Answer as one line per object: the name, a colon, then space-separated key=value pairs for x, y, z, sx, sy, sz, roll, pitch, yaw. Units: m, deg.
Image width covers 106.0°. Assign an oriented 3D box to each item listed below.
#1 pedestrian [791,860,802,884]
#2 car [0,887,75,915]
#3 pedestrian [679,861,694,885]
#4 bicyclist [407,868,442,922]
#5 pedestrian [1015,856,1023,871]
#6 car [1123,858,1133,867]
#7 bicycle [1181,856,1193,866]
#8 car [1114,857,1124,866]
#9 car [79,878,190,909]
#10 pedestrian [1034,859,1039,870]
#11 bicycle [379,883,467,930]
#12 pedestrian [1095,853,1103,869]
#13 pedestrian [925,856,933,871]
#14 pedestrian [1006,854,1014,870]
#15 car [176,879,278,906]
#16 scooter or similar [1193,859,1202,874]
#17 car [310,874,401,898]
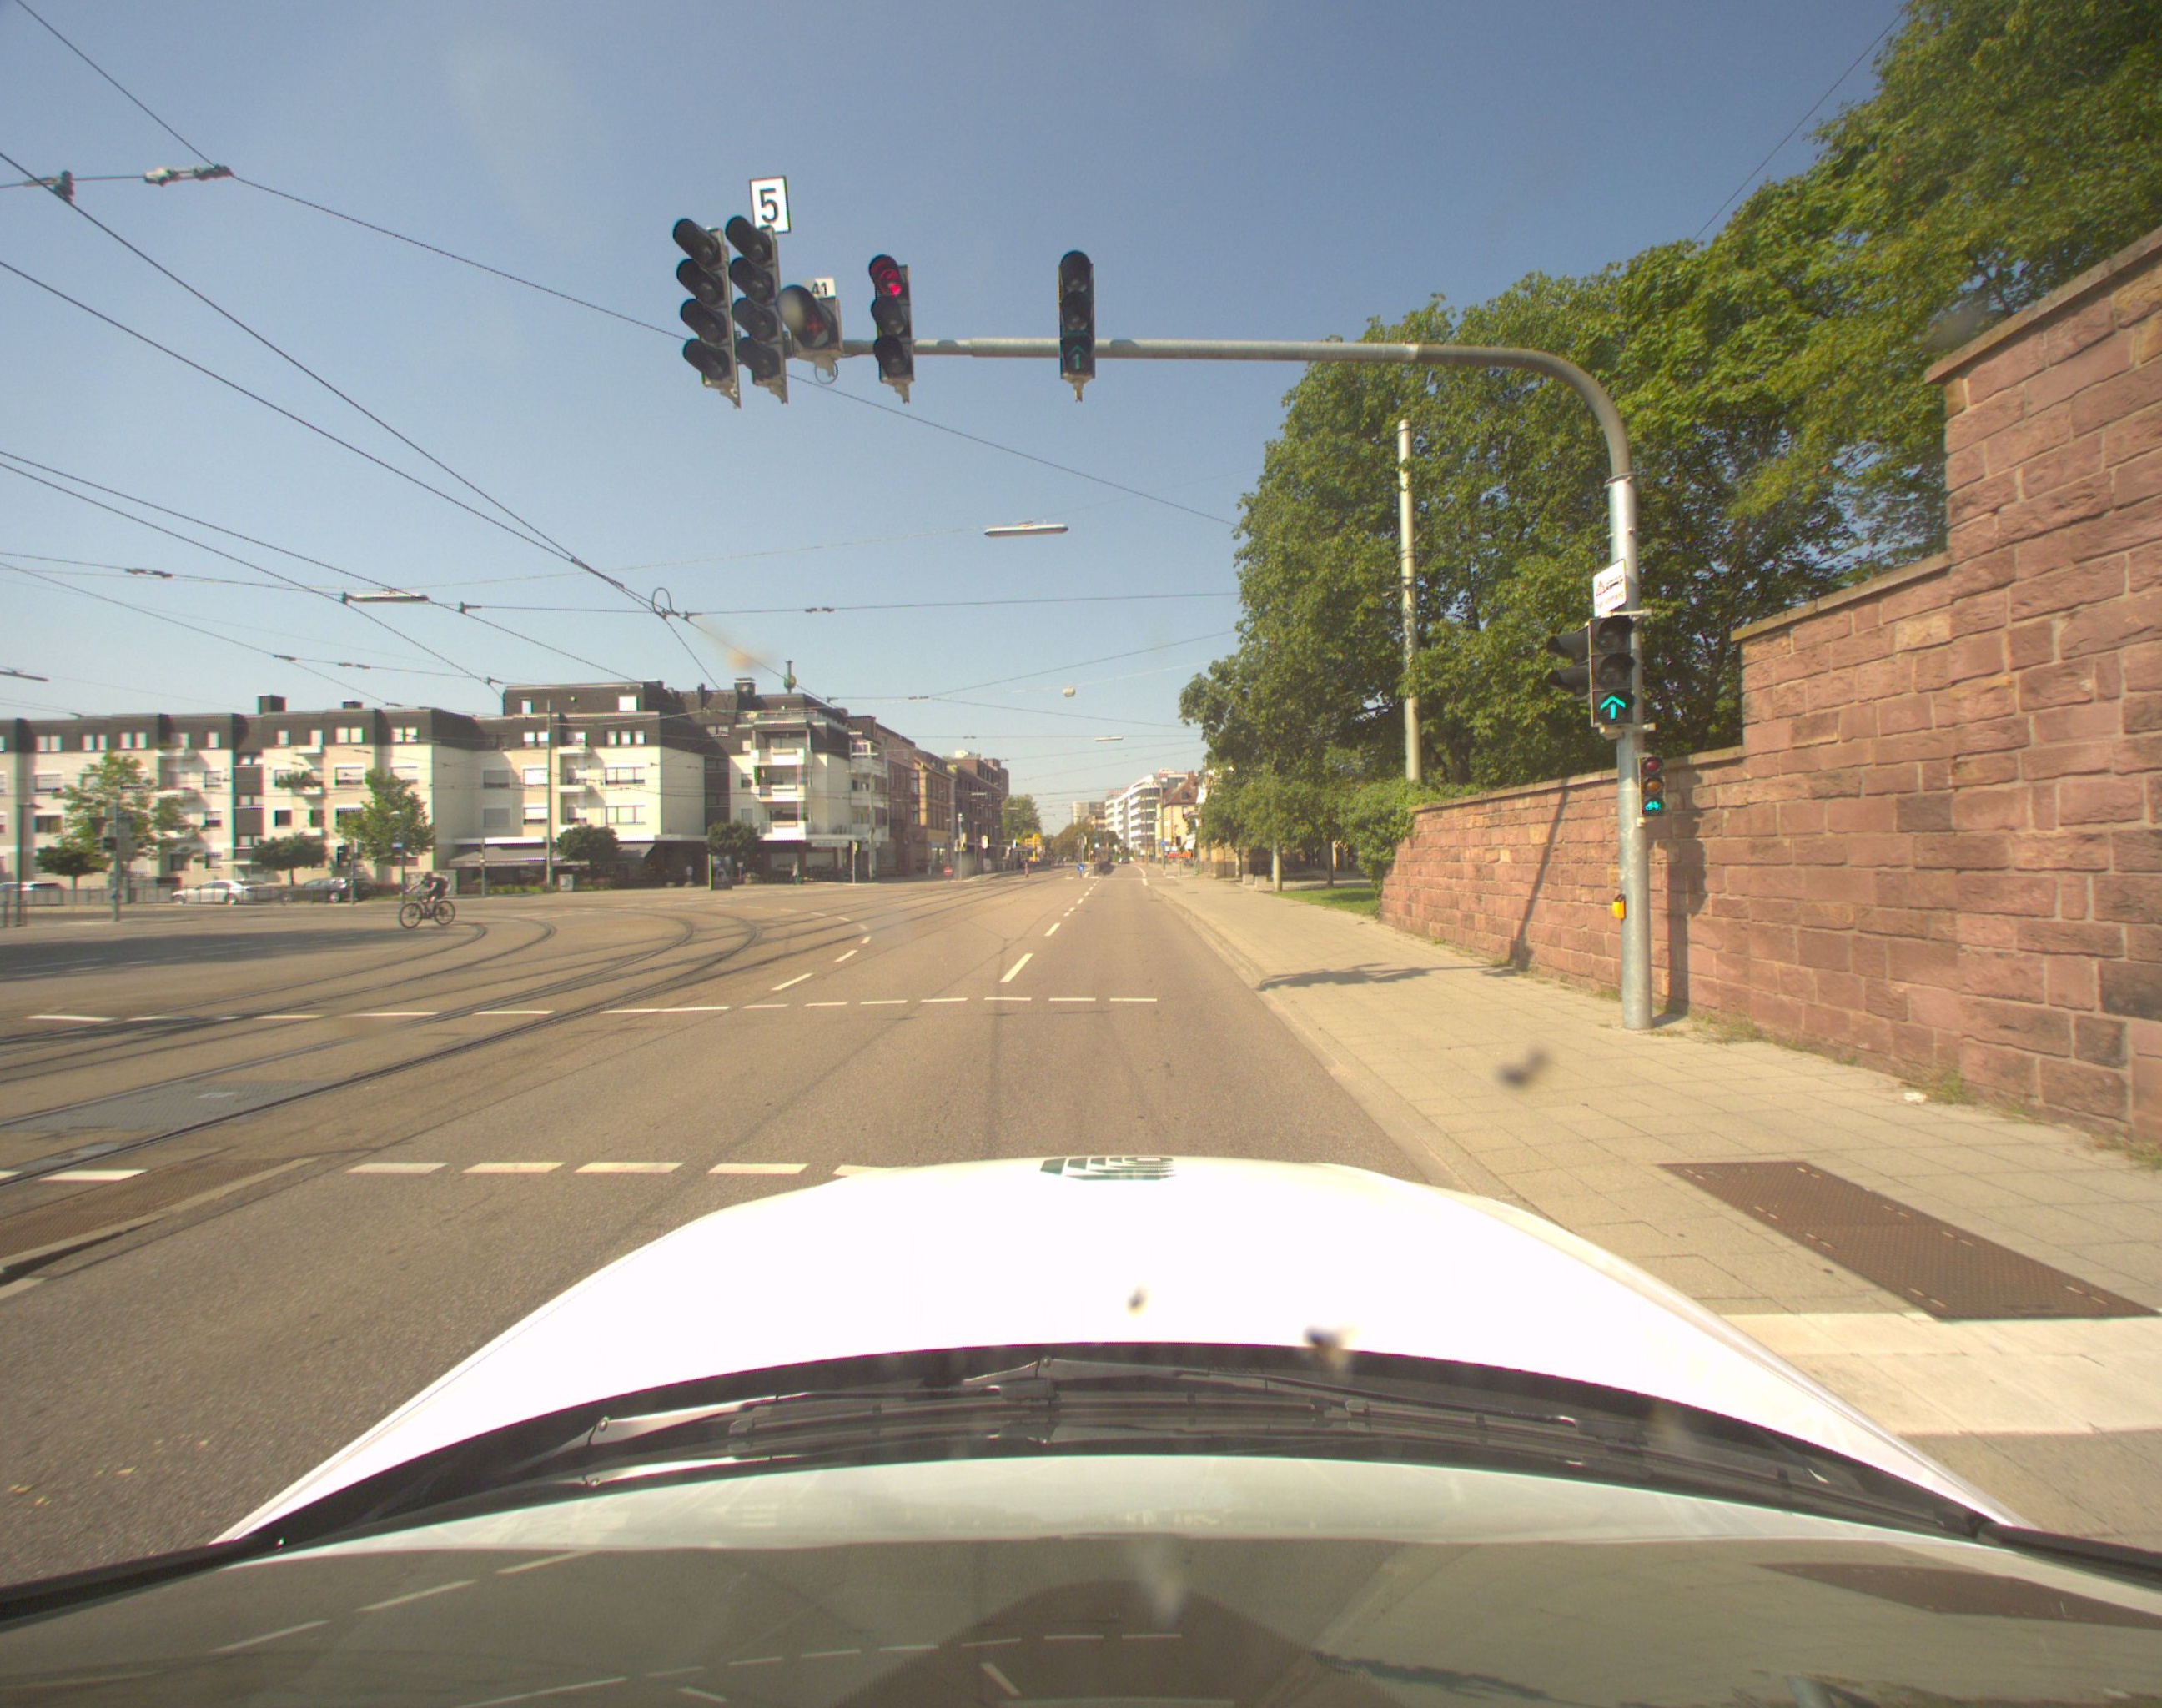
pedestrian: x=-20.807 y=1.328 z=59.641 sx=0.602 sy=1.745 sz=0.560 roll=-2 pitch=-1 yaw=-30
car: x=-61.940 y=2.775 z=47.761 sx=3.890 sy=1.481 sz=1.674 roll=-3 pitch=-1 yaw=2
pedestrian: x=-28.593 y=1.361 z=59.014 sx=0.676 sy=1.741 sz=0.699 roll=-3 pitch=-1 yaw=4
bicyclist: x=-19.114 y=1.181 z=23.728 sx=0.565 sy=1.523 sz=0.490 roll=-3 pitch=-1 yaw=4
pedestrian: x=-7.594 y=1.167 z=99.817 sx=0.705 sy=1.747 sz=0.800 roll=-3 pitch=-1 yaw=3
car: x=10.667 y=1.985 z=183.436 sx=2.002 sy=1.859 sz=4.005 roll=-3 pitch=-1 yaw=4
bicycle: x=12.142 y=0.811 z=93.395 sx=0.729 sy=1.132 sz=2.835 roll=-4 pitch=-1 yaw=-4
car: x=8.801 y=1.776 z=189.634 sx=2.002 sy=1.859 sz=4.005 roll=-3 pitch=-1 yaw=4
car: x=-55.480 y=2.295 z=47.783 sx=4.354 sy=1.534 sz=1.870 roll=-3 pitch=-1 yaw=1
pedestrian: x=-6.394 y=1.454 z=117.319 sx=0.531 sy=1.530 sz=0.701 roll=-3 pitch=-1 yaw=-3
bicycle: x=-19.108 y=1.496 z=23.709 sx=0.572 sy=1.179 sz=2.211 roll=-3 pitch=0 yaw=5
pedestrian: x=2.060 y=0.779 z=92.489 sx=0.717 sy=1.703 sz=0.885 roll=-3 pitch=-1 yaw=4
pedestrian: x=-16.136 y=1.043 z=86.707 sx=0.479 sy=1.560 sz=0.890 roll=0 pitch=-2 yaw=14
pedestrian: x=-8.088 y=0.915 z=92.586 sx=0.705 sy=1.723 sz=0.800 roll=-3 pitch=-1 yaw=3
car: x=-49.178 y=2.215 z=46.938 sx=4.093 sy=1.299 sz=1.674 roll=-3 pitch=-1 yaw=2
scooter or similar: x=8.822 y=0.932 z=61.823 sx=0.521 sy=1.133 sz=1.513 roll=-3 pitch=-1 yaw=4
car: x=-46.207 y=2.019 z=51.929 sx=4.093 sy=1.507 sz=1.931 roll=0 pitch=-1 yaw=2
